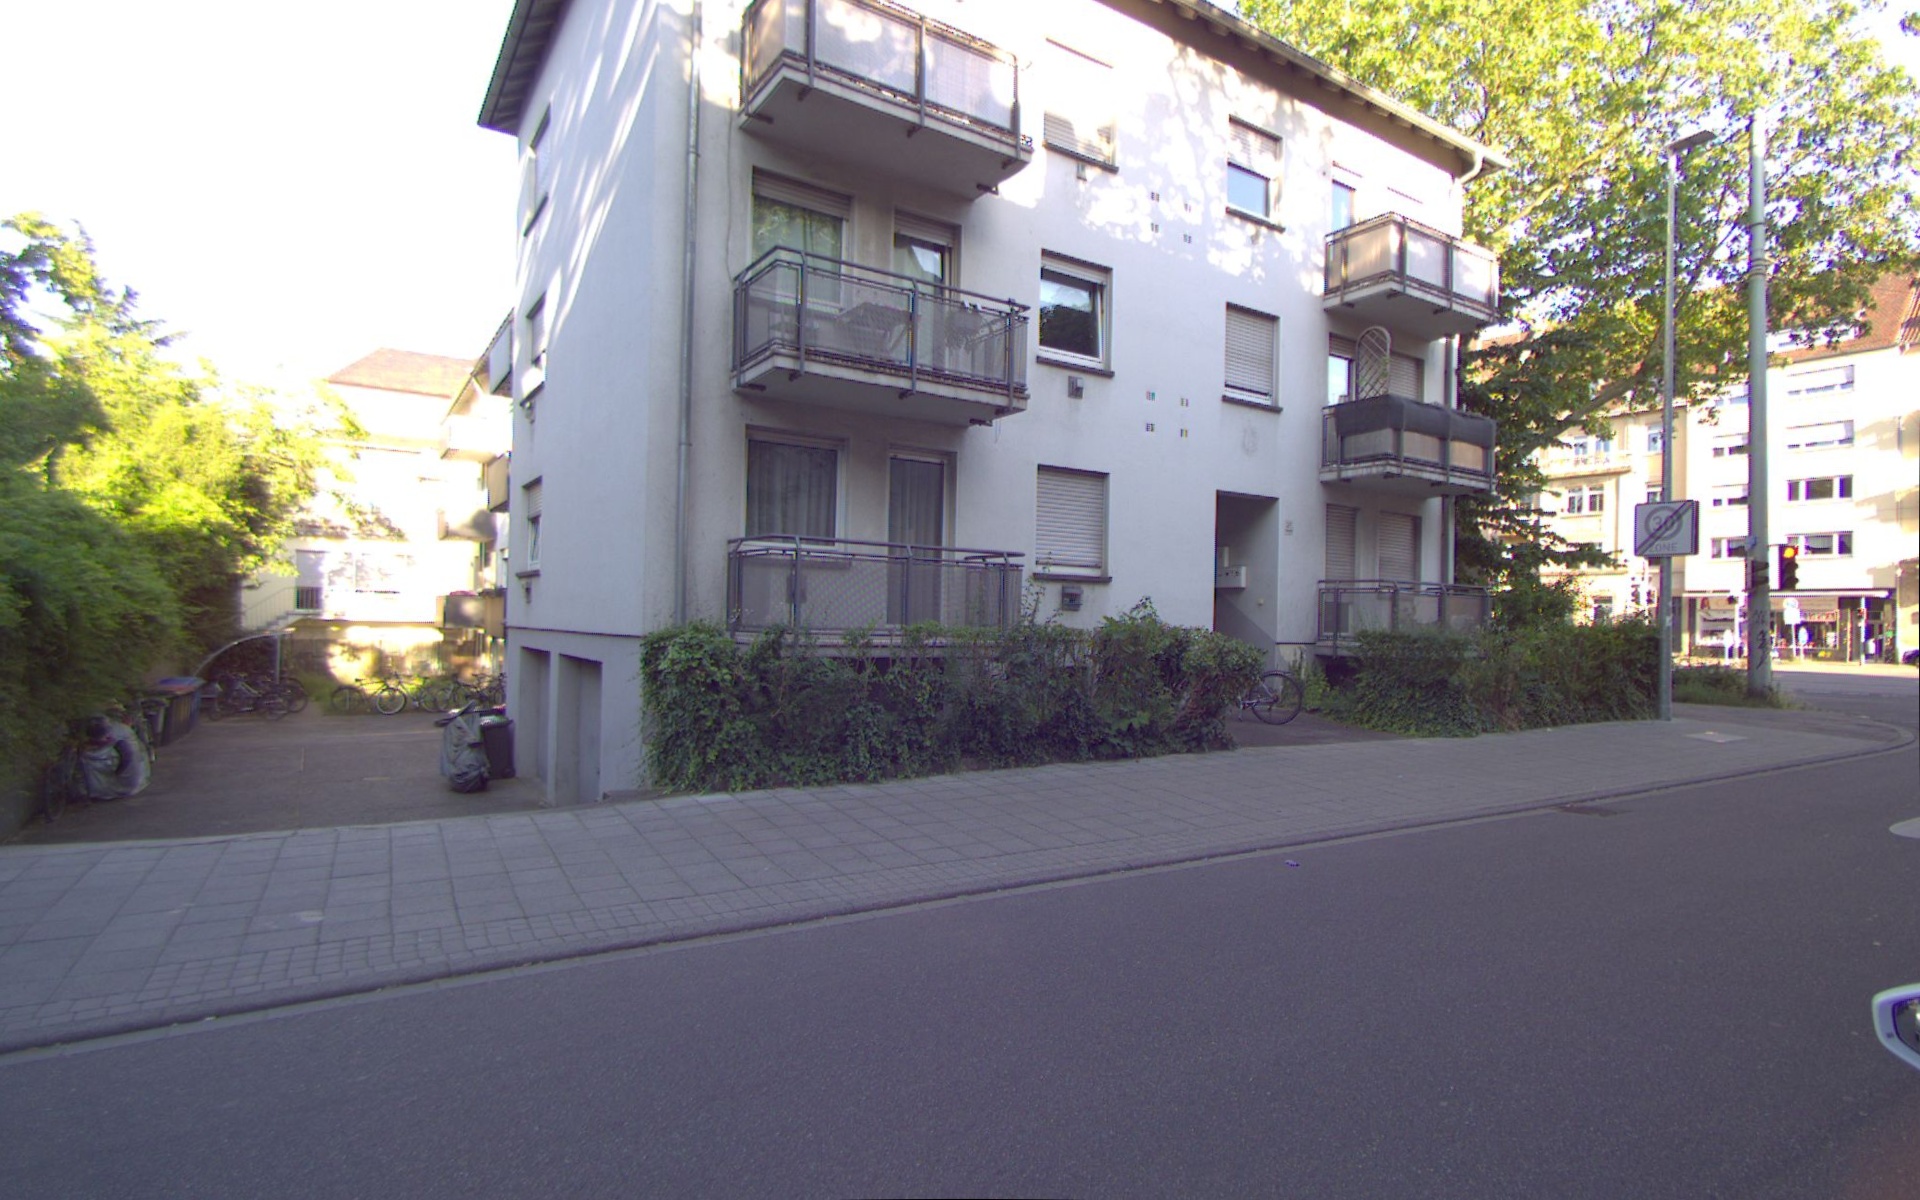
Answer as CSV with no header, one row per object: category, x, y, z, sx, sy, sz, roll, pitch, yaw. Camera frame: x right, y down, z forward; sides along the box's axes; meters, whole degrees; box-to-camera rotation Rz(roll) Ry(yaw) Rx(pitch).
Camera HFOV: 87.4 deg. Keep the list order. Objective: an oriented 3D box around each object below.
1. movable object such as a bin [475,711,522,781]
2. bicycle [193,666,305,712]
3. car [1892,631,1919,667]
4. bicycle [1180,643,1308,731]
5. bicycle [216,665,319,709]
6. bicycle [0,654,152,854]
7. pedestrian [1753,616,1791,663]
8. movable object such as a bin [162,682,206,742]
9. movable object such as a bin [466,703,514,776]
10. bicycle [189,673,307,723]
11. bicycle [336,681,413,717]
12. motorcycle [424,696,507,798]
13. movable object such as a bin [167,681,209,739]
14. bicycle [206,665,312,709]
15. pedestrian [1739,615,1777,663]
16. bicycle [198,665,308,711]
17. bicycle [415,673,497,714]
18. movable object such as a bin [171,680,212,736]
movable object such as a bin,-7.398,2.327,16.093,0.606,1.051,0.534,1,-3,-34
bicycle,-18.597,2.320,26.348,2.311,1.148,0.689,2,-4,-30
car,41.907,2.075,41.387,1.839,1.471,4.855,1,-1,-33
bicycle,3.832,1.154,13.573,1.590,1.022,0.517,3,1,20
bicycle,-19.639,2.444,28.544,2.311,1.192,0.689,2,-4,-30
bicycle,-10.598,1.657,11.982,0.961,1.917,4.156,1,-2,-32
pedestrian,44.385,2.149,54.893,1.049,2.497,1.338,1,0,-34
movable object such as a bin,-15.486,2.223,20.057,0.606,1.129,0.795,1,-3,-33
movable object such as a bin,-7.914,2.327,16.905,0.606,1.129,0.795,1,-3,-33
bicycle,-17.333,2.378,24.529,2.268,1.148,0.689,2,-4,-30
bicycle,-15.563,2.620,26.749,1.734,0.890,0.561,2,-4,-30
motorcycle,-7.402,2.152,15.011,0.739,1.313,1.563,2,-2,-41
movable object such as a bin,-15.927,2.254,20.727,0.606,1.129,0.795,1,-3,-33
bicycle,-19.369,2.389,27.820,2.311,1.192,0.689,2,-4,-30
pedestrian,43.248,2.099,54.438,1.049,2.497,1.338,1,0,-34
bicycle,-19.023,2.343,27.095,2.311,1.192,0.689,2,-4,-30
bicycle,-13.909,2.568,27.749,1.982,1.085,0.561,2,-4,-30
movable object such as a bin,-16.360,2.284,21.389,0.606,1.129,0.795,1,-3,-33
